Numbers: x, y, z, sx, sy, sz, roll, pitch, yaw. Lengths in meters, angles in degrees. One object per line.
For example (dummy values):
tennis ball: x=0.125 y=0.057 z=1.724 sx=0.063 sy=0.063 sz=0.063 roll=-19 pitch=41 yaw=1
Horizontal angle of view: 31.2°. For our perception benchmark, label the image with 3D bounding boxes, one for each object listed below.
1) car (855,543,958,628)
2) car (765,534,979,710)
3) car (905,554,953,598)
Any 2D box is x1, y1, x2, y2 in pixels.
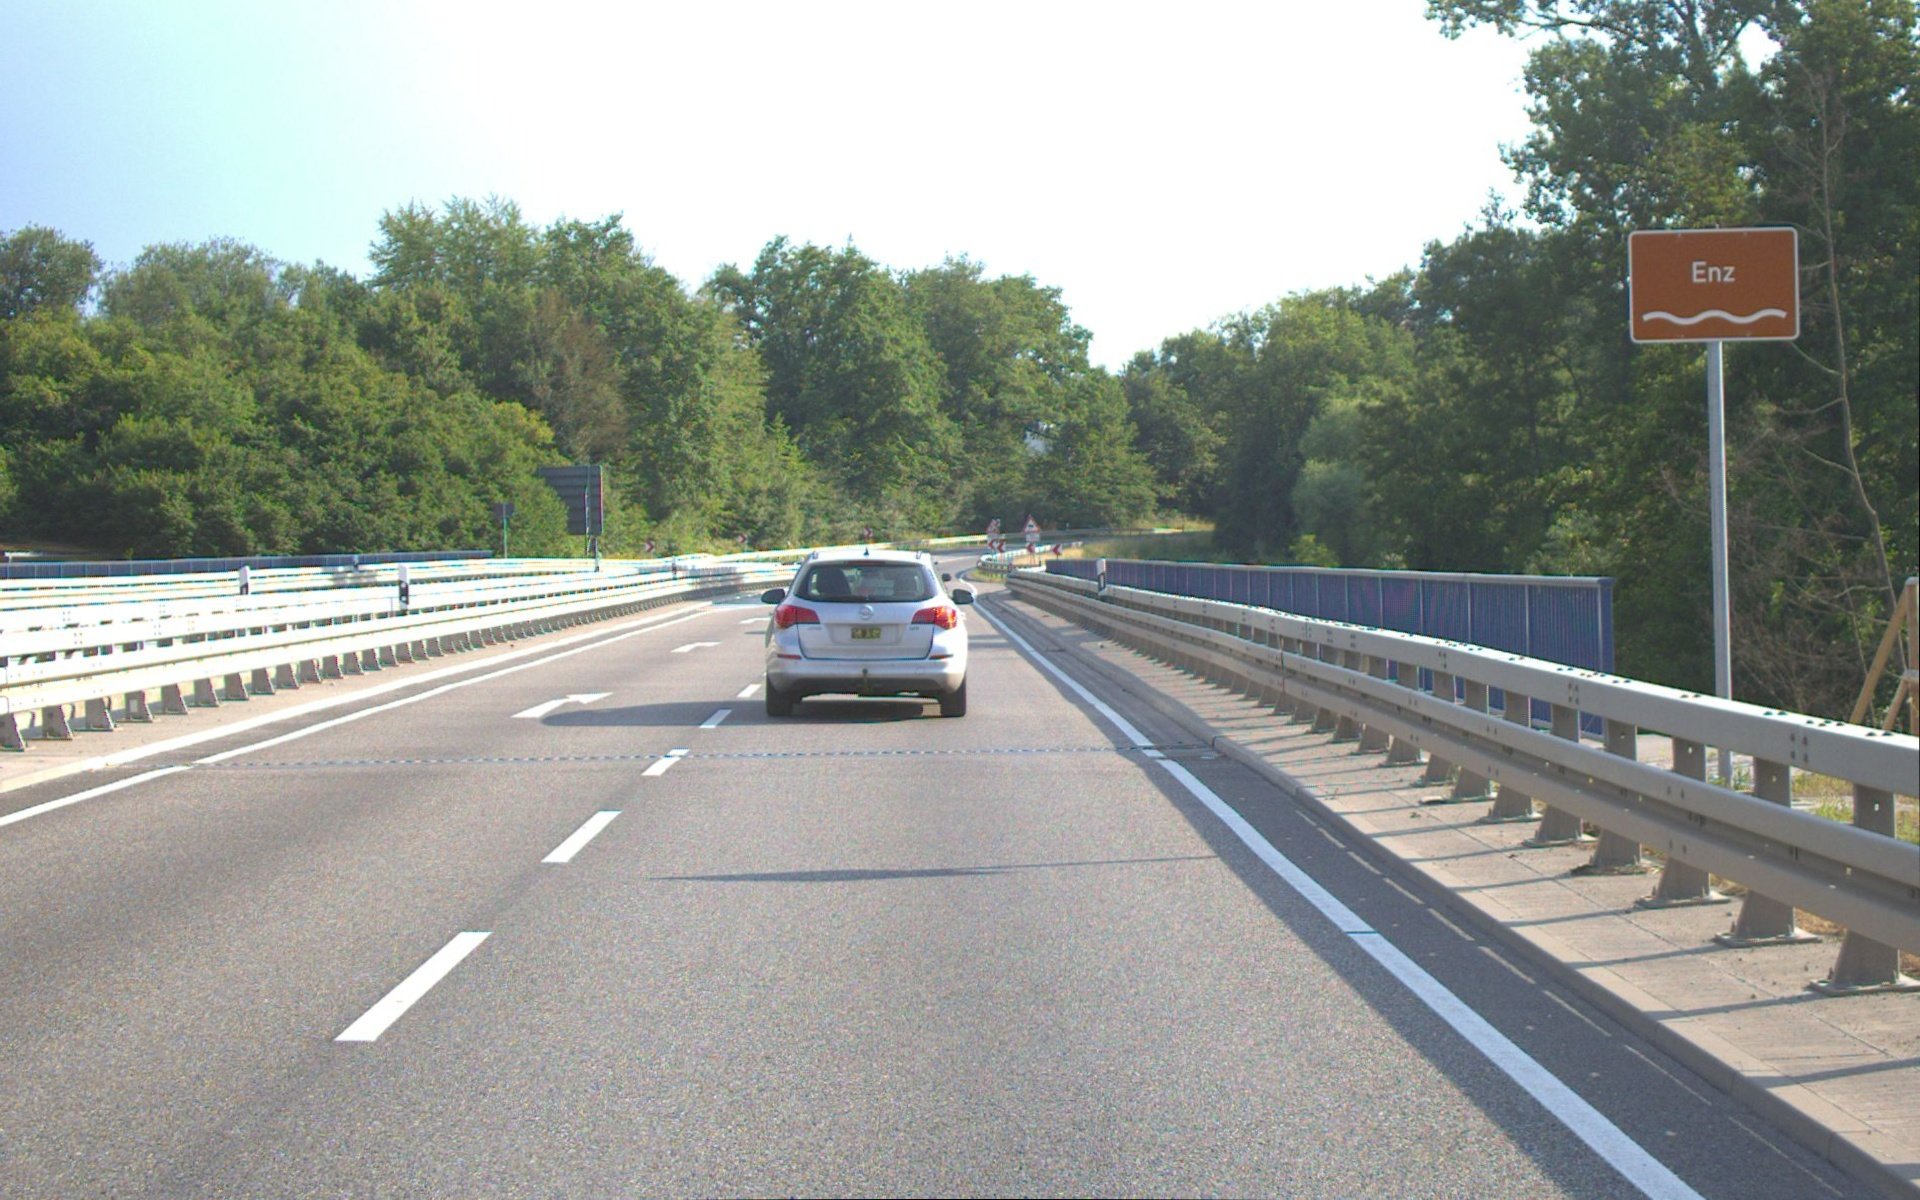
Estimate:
car: x=-0.997 y=-0.249 z=62.832 sx=1.809 sy=1.481 sz=4.000 roll=1 pitch=0 yaw=-1
car: x=-0.796 y=0.192 z=31.355 sx=1.809 sy=1.481 sz=4.000 roll=1 pitch=0 yaw=-1
car: x=-1.481 y=-1.111 z=162.670 sx=1.993 sy=2.007 sz=4.001 roll=1 pitch=0 yaw=-5
